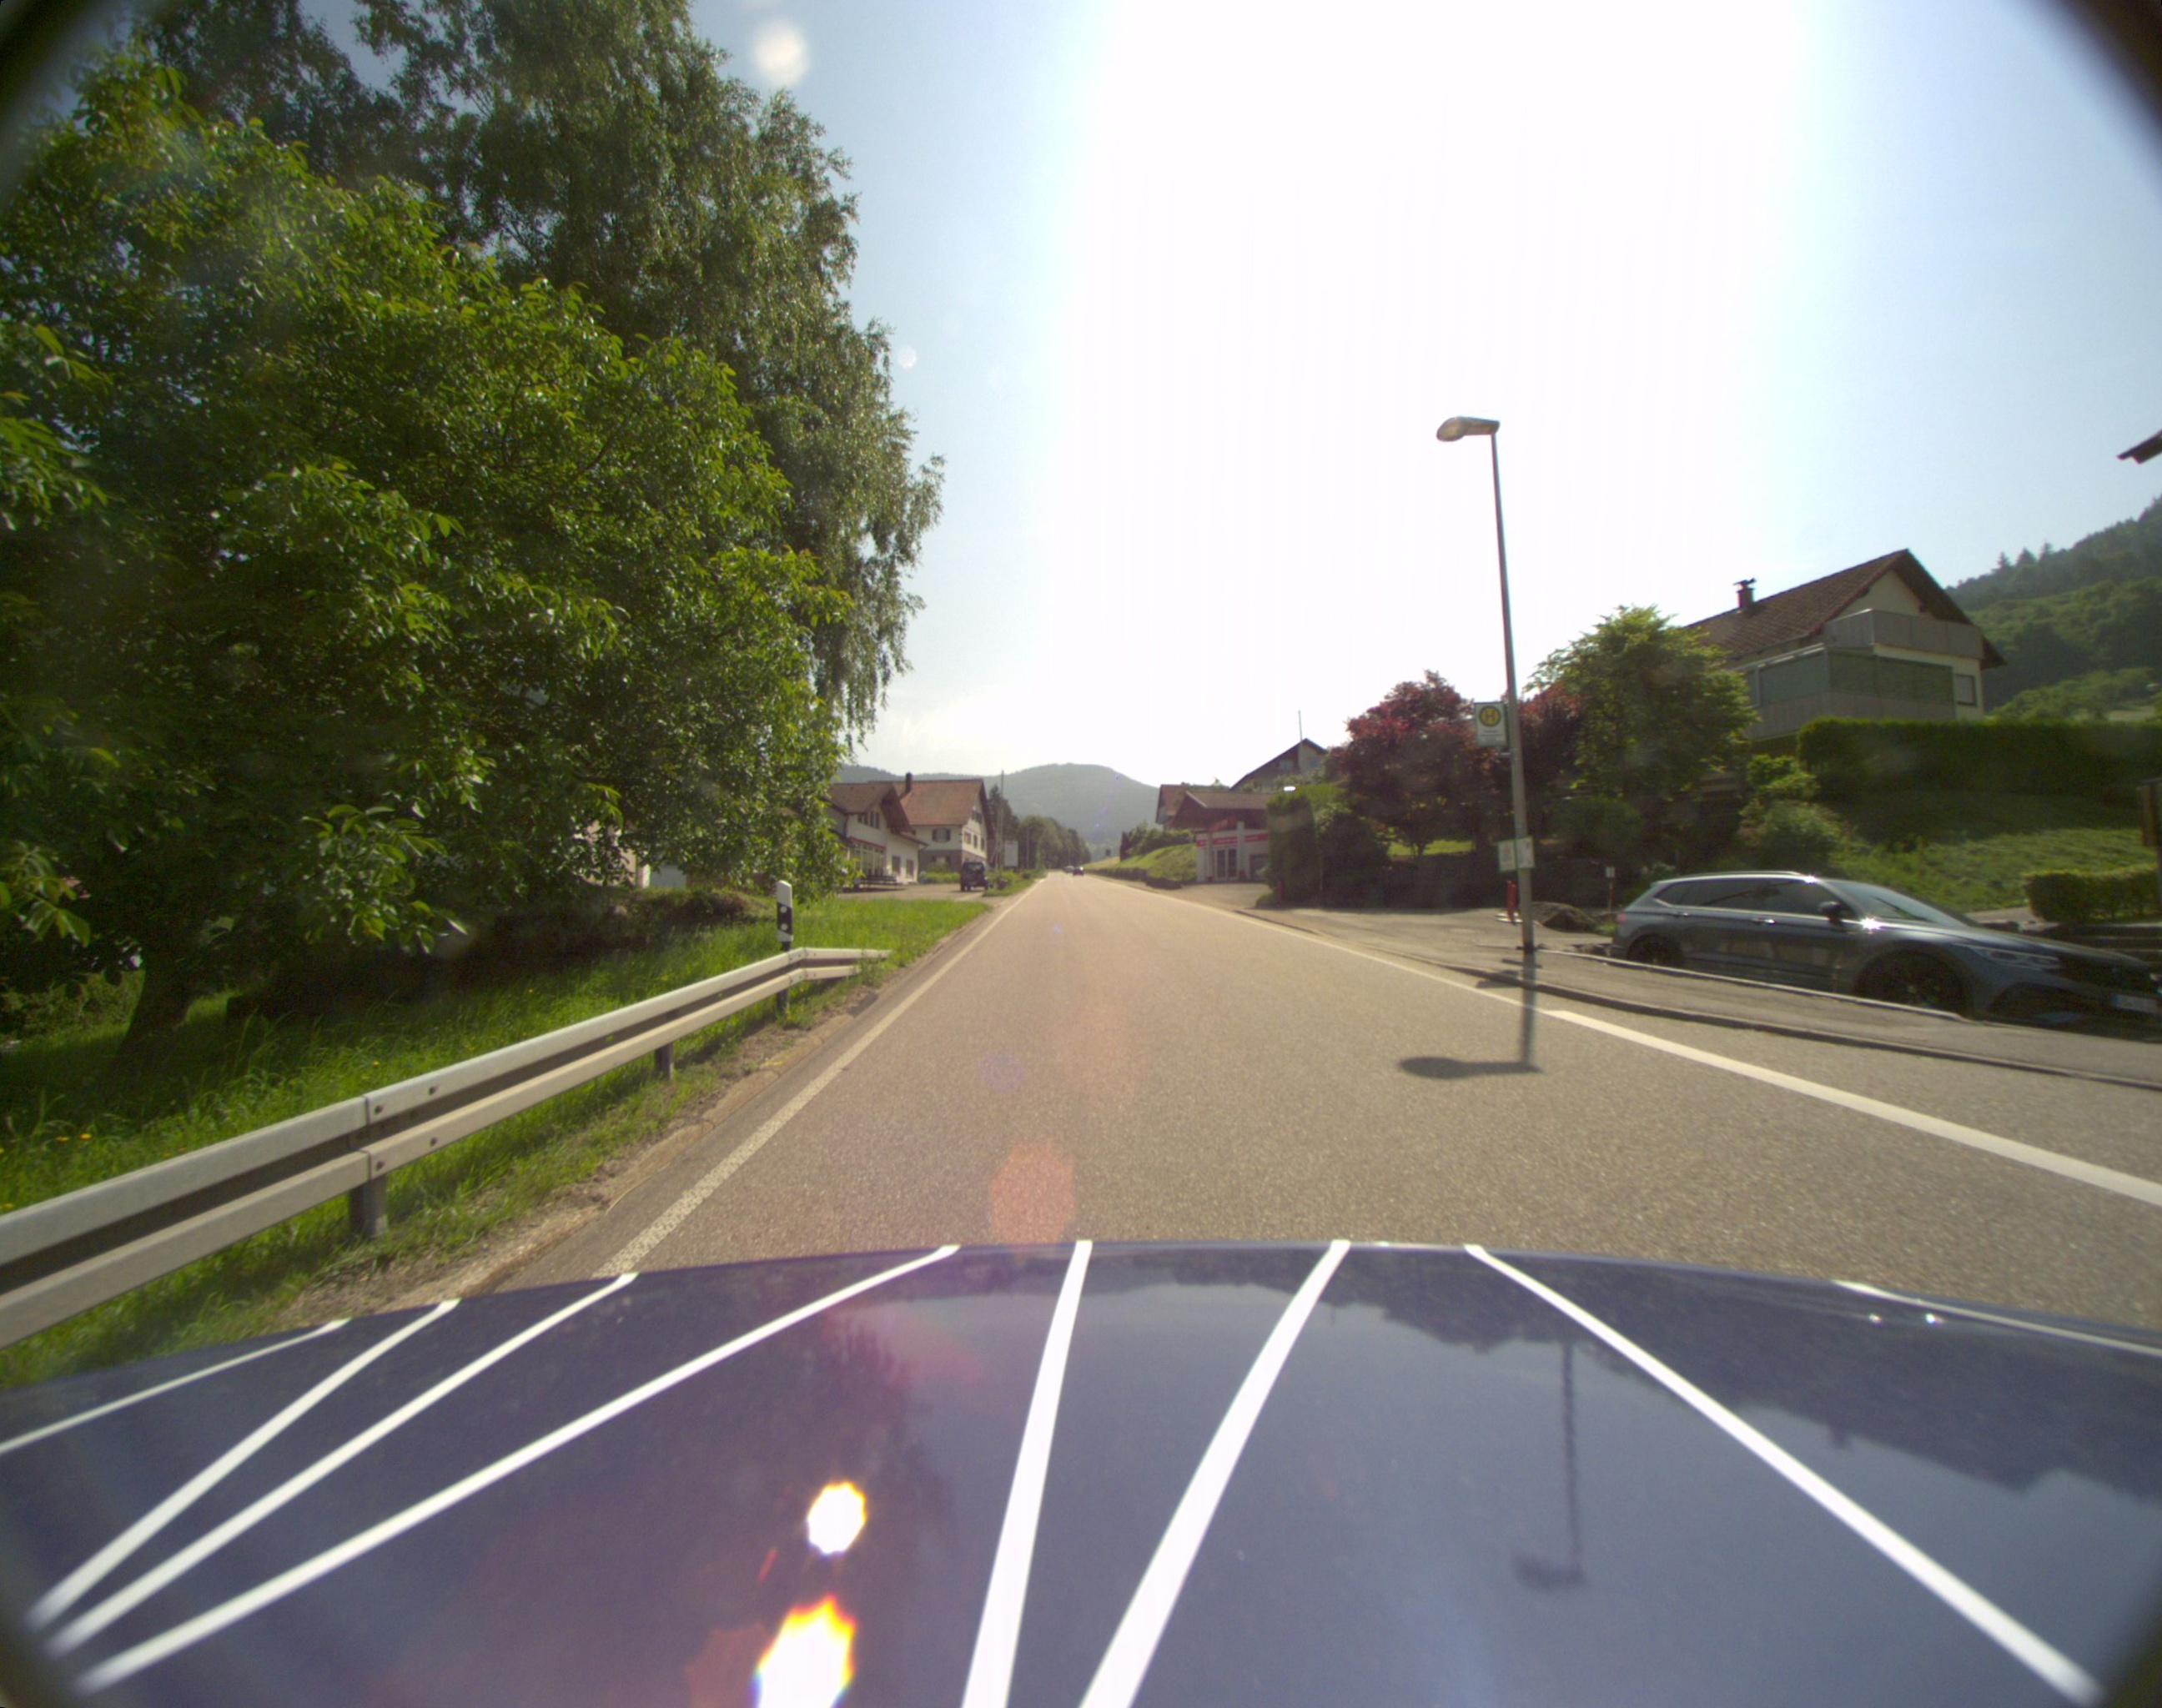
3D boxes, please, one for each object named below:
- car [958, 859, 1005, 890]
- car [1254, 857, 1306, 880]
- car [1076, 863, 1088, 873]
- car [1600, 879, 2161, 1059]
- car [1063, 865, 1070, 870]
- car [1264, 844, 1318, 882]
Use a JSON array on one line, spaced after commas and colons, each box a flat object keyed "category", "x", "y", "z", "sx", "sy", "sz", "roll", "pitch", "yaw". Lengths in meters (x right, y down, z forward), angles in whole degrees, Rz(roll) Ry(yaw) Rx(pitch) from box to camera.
[{"category": "car", "x": -6.000, "y": 1.221, "z": 46.464, "sx": 1.812, "sy": 1.802, "sz": 4.666, "roll": 1, "pitch": -1, "yaw": 6}, {"category": "car", "x": 12.762, "y": 0.949, "z": 48.977, "sx": 1.963, "sy": 1.405, "sz": 4.344, "roll": 0, "pitch": -2, "yaw": -3}, {"category": "car", "x": 0.155, "y": 2.300, "z": 124.766, "sx": 1.816, "sy": 1.500, "sz": 4.262, "roll": -1, "pitch": -1, "yaw": -3}, {"category": "car", "x": 8.472, "y": 0.998, "z": 8.514, "sx": 1.787, "sy": 1.330, "sz": 4.693, "roll": 0, "pitch": -1, "yaw": -6}, {"category": "car", "x": -4.345, "y": 4.058, "z": 224.078, "sx": 1.816, "sy": 1.500, "sz": 4.261, "roll": -1, "pitch": -1, "yaw": -4}, {"category": "car", "x": 11.798, "y": 0.450, "z": 42.439, "sx": 2.021, "sy": 1.919, "sz": 4.785, "roll": 3, "pitch": 2, "yaw": 26}]
